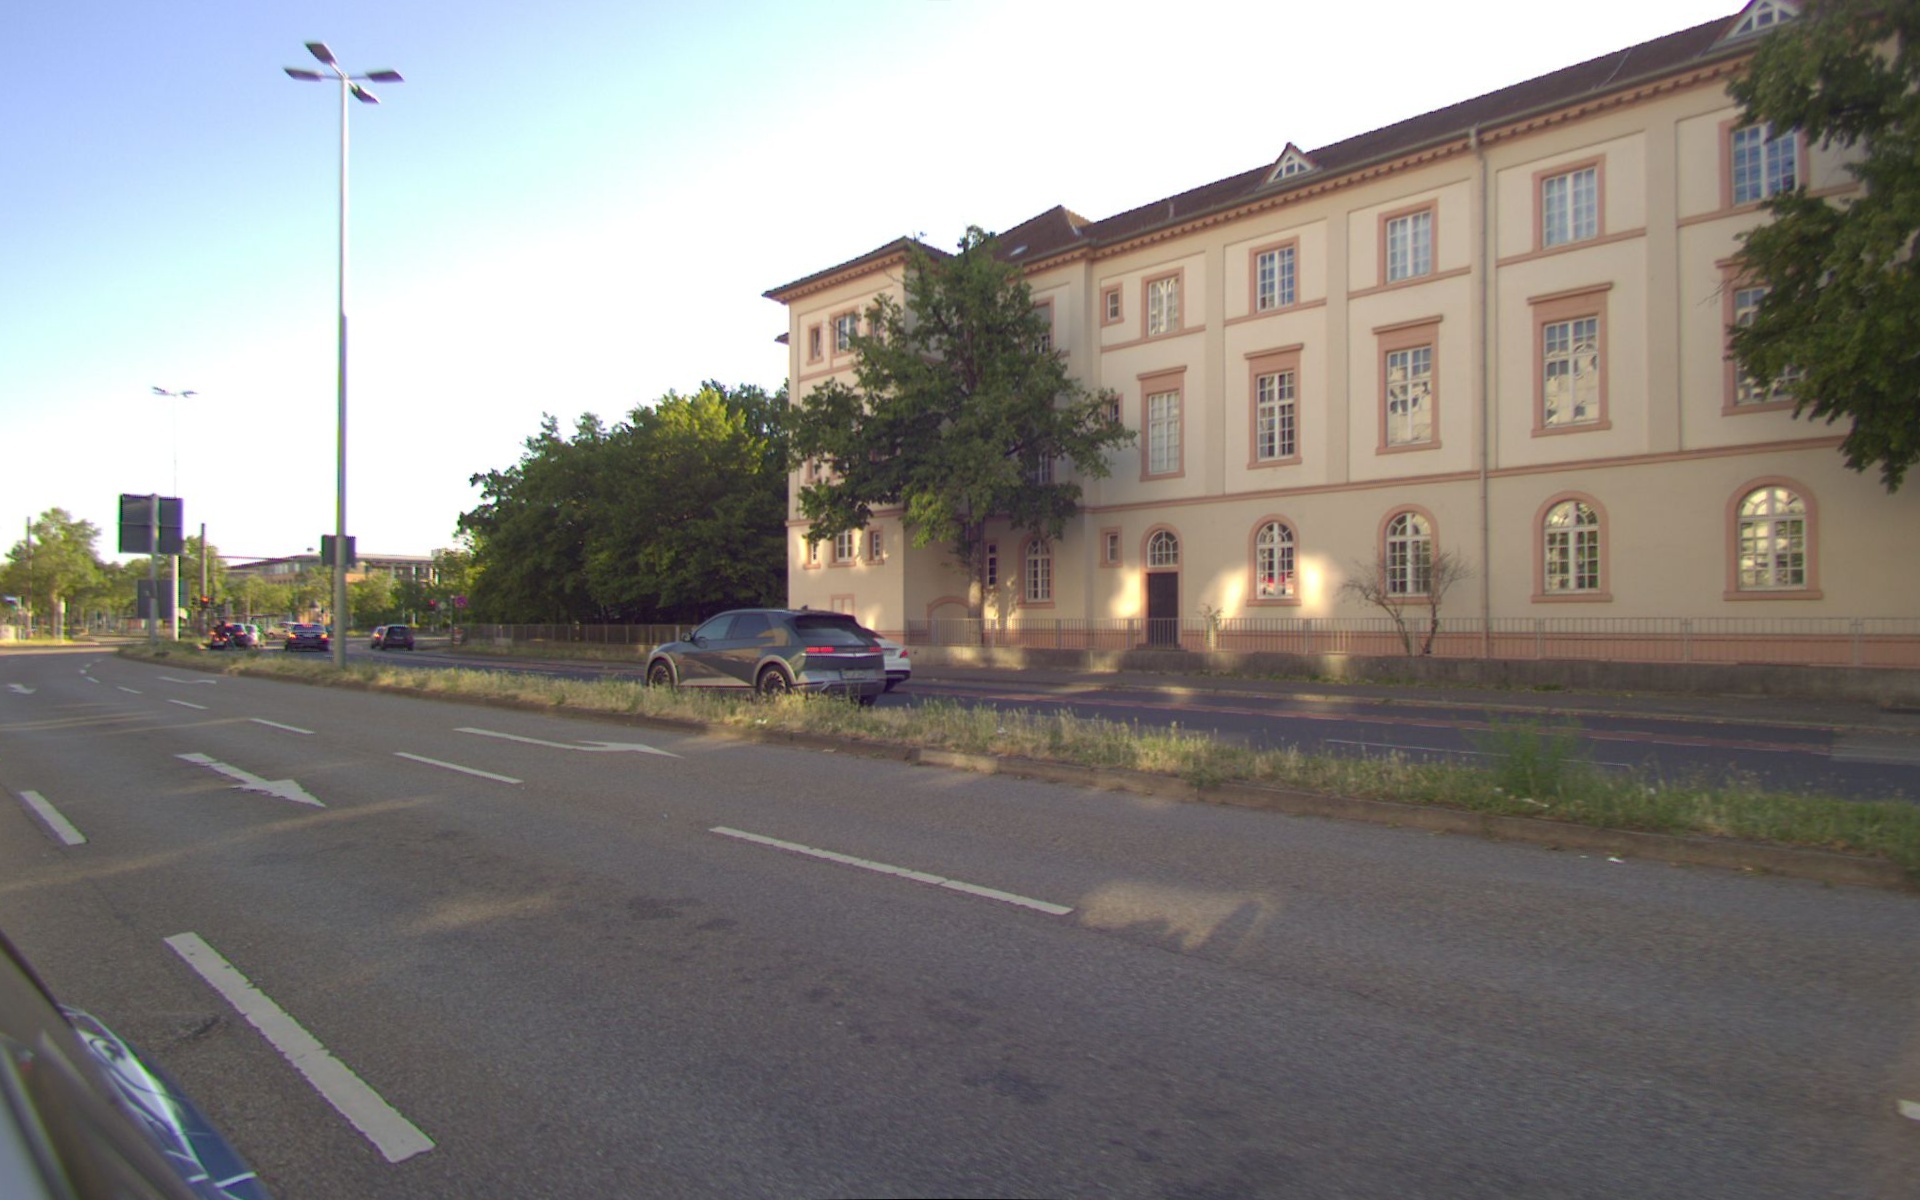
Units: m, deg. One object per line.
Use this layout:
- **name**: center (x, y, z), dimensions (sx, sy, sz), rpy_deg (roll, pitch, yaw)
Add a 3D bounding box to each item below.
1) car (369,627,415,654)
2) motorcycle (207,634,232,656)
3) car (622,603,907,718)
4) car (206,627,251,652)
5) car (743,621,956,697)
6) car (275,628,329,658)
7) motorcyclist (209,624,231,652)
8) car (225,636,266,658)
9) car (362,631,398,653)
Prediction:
- **car**: center (-33.013, 2.321, 58.751), dimensions (1.829, 1.475, 4.009), rpy_deg (0, -2, -36)
- **motorcycle**: center (-38.268, 2.311, 52.309), dimensions (0.847, 1.116, 2.477), rpy_deg (1, -2, -32)
- **car**: center (-3.297, 0.901, 16.460), dimensions (4.896, 1.590, 1.973), rpy_deg (-1, -2, 41)
- **car**: center (-40.698, 2.170, 56.354), dimensions (1.695, 1.306, 4.389), rpy_deg (1, -2, -32)
- **car**: center (-2.375, 1.169, 20.987), dimensions (4.443, 1.424, 1.972), rpy_deg (-2, -3, 43)
- **car**: center (-35.216, 2.276, 54.078), dimensions (1.968, 1.507, 5.303), rpy_deg (1, -2, -38)
- **motorcyclist**: center (-38.291, 1.971, 52.373), dimensions (0.840, 1.409, 1.064), rpy_deg (1, -2, -32)
- **car**: center (-43.959, 2.868, 62.335), dimensions (1.695, 1.306, 4.261), rpy_deg (1, -2, -30)
- **car**: center (-36.865, 2.638, 64.330), dimensions (1.695, 1.306, 3.904), rpy_deg (1, -2, -34)
